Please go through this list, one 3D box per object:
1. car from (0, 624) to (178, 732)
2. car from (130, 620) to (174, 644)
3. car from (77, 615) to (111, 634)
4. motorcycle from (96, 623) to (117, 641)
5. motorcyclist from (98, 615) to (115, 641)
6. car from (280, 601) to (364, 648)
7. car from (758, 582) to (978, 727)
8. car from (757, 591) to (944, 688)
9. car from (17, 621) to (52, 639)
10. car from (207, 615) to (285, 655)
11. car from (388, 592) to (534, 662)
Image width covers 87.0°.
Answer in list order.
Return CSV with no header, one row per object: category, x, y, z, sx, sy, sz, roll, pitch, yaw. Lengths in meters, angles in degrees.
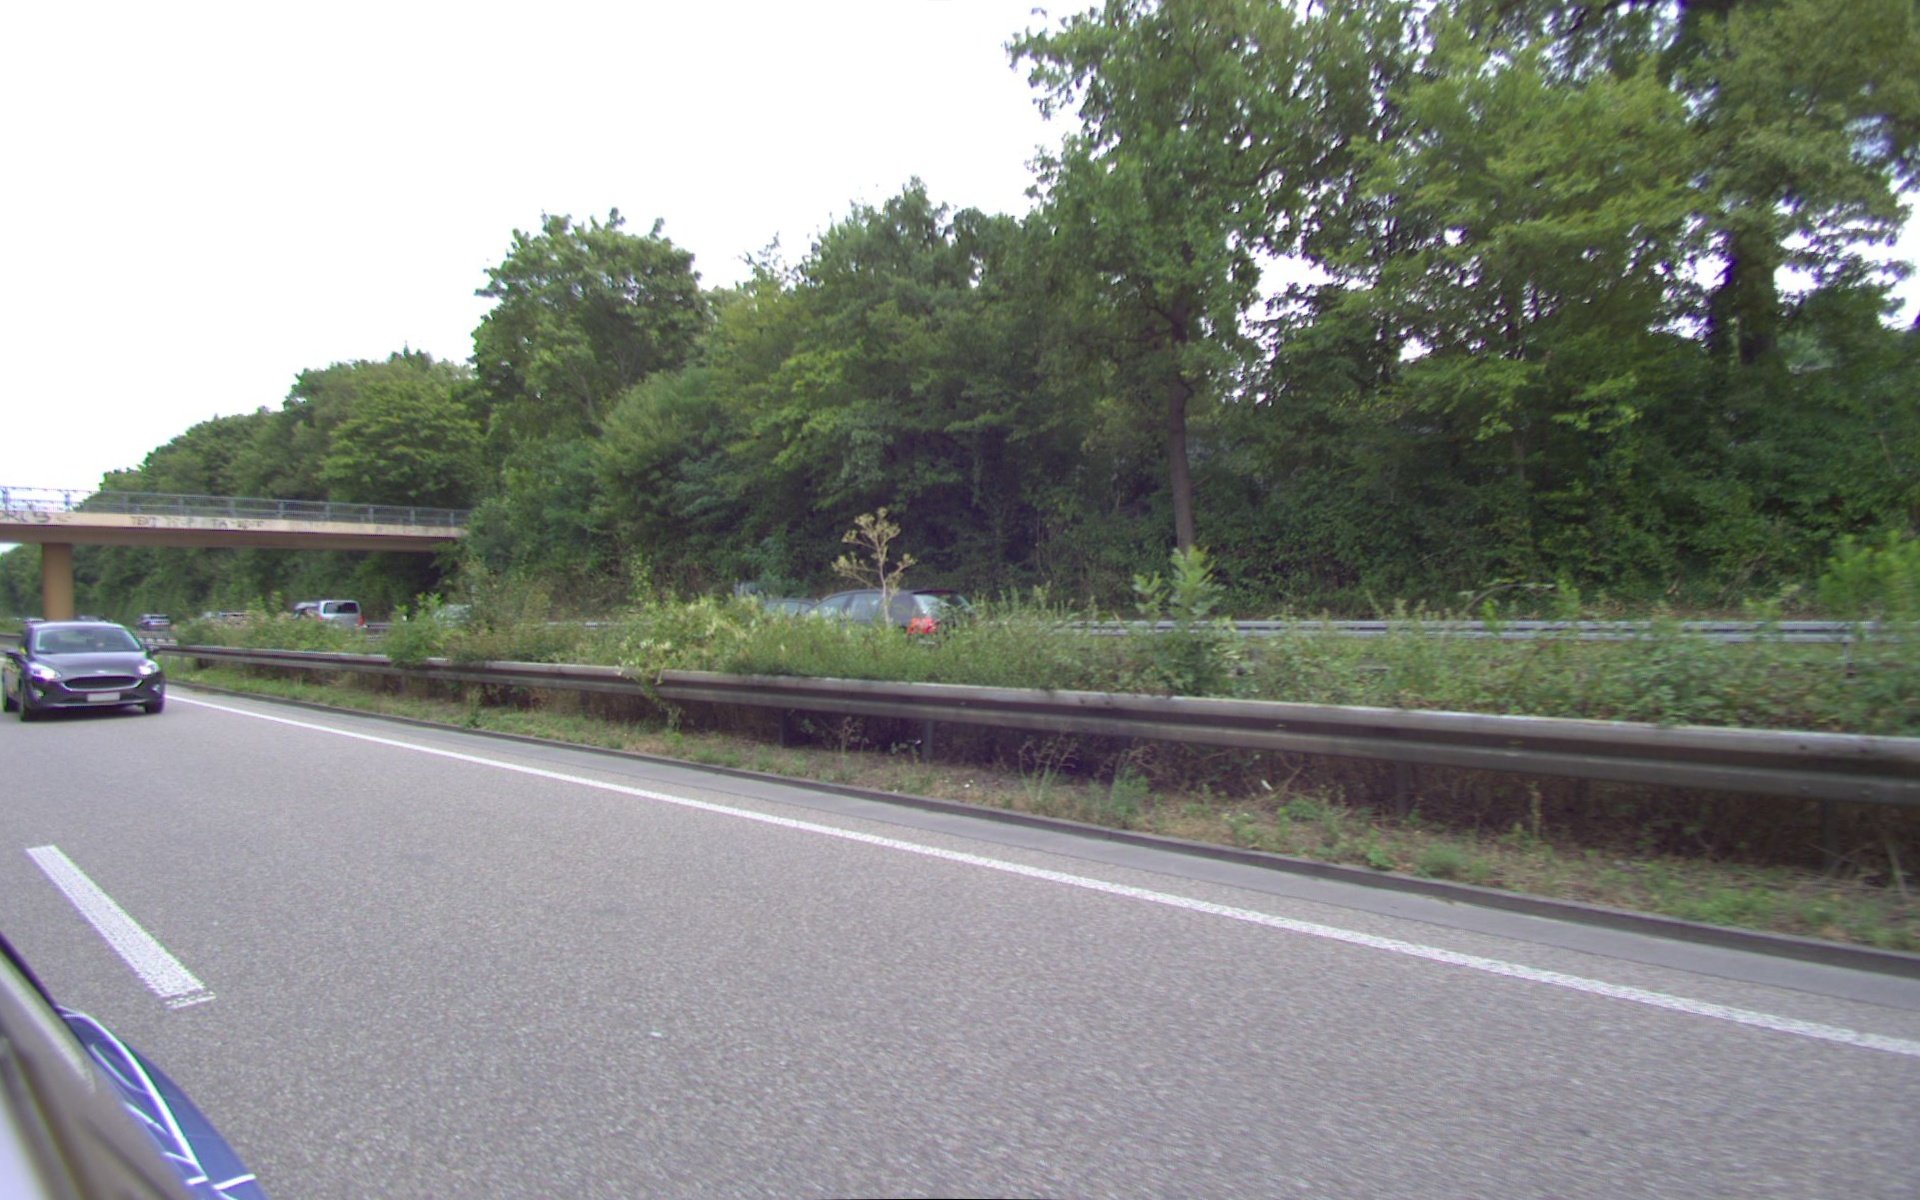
car,-14.408,1.161,16.529,4.638,1.469,1.807,-1,-1,42
car,-59.629,2.312,74.660,4.639,1.664,1.873,-1,-1,42
car,-81.903,2.286,95.727,4.639,1.699,1.873,-1,-1,42
motorcycle,-52.901,1.963,62.691,2.195,1.075,0.694,-1,-1,42
motorcyclist,-52.840,1.730,62.629,0.846,1.560,0.673,-1,1,42
car,-28.832,1.079,45.673,5.300,2.029,1.777,-1,-1,41
car,-1.462,0.759,15.398,3.362,1.958,1.444,-1,-1,42
car,-2.364,0.775,21.297,3.783,1.839,1.873,-1,-1,42
car,-73.648,2.373,80.520,4.936,1.391,1.671,-1,-1,42
car,-30.265,1.444,42.864,4.180,1.602,1.784,-1,-1,41
car,-12.603,0.641,25.486,3.999,1.623,1.972,-1,-1,42
